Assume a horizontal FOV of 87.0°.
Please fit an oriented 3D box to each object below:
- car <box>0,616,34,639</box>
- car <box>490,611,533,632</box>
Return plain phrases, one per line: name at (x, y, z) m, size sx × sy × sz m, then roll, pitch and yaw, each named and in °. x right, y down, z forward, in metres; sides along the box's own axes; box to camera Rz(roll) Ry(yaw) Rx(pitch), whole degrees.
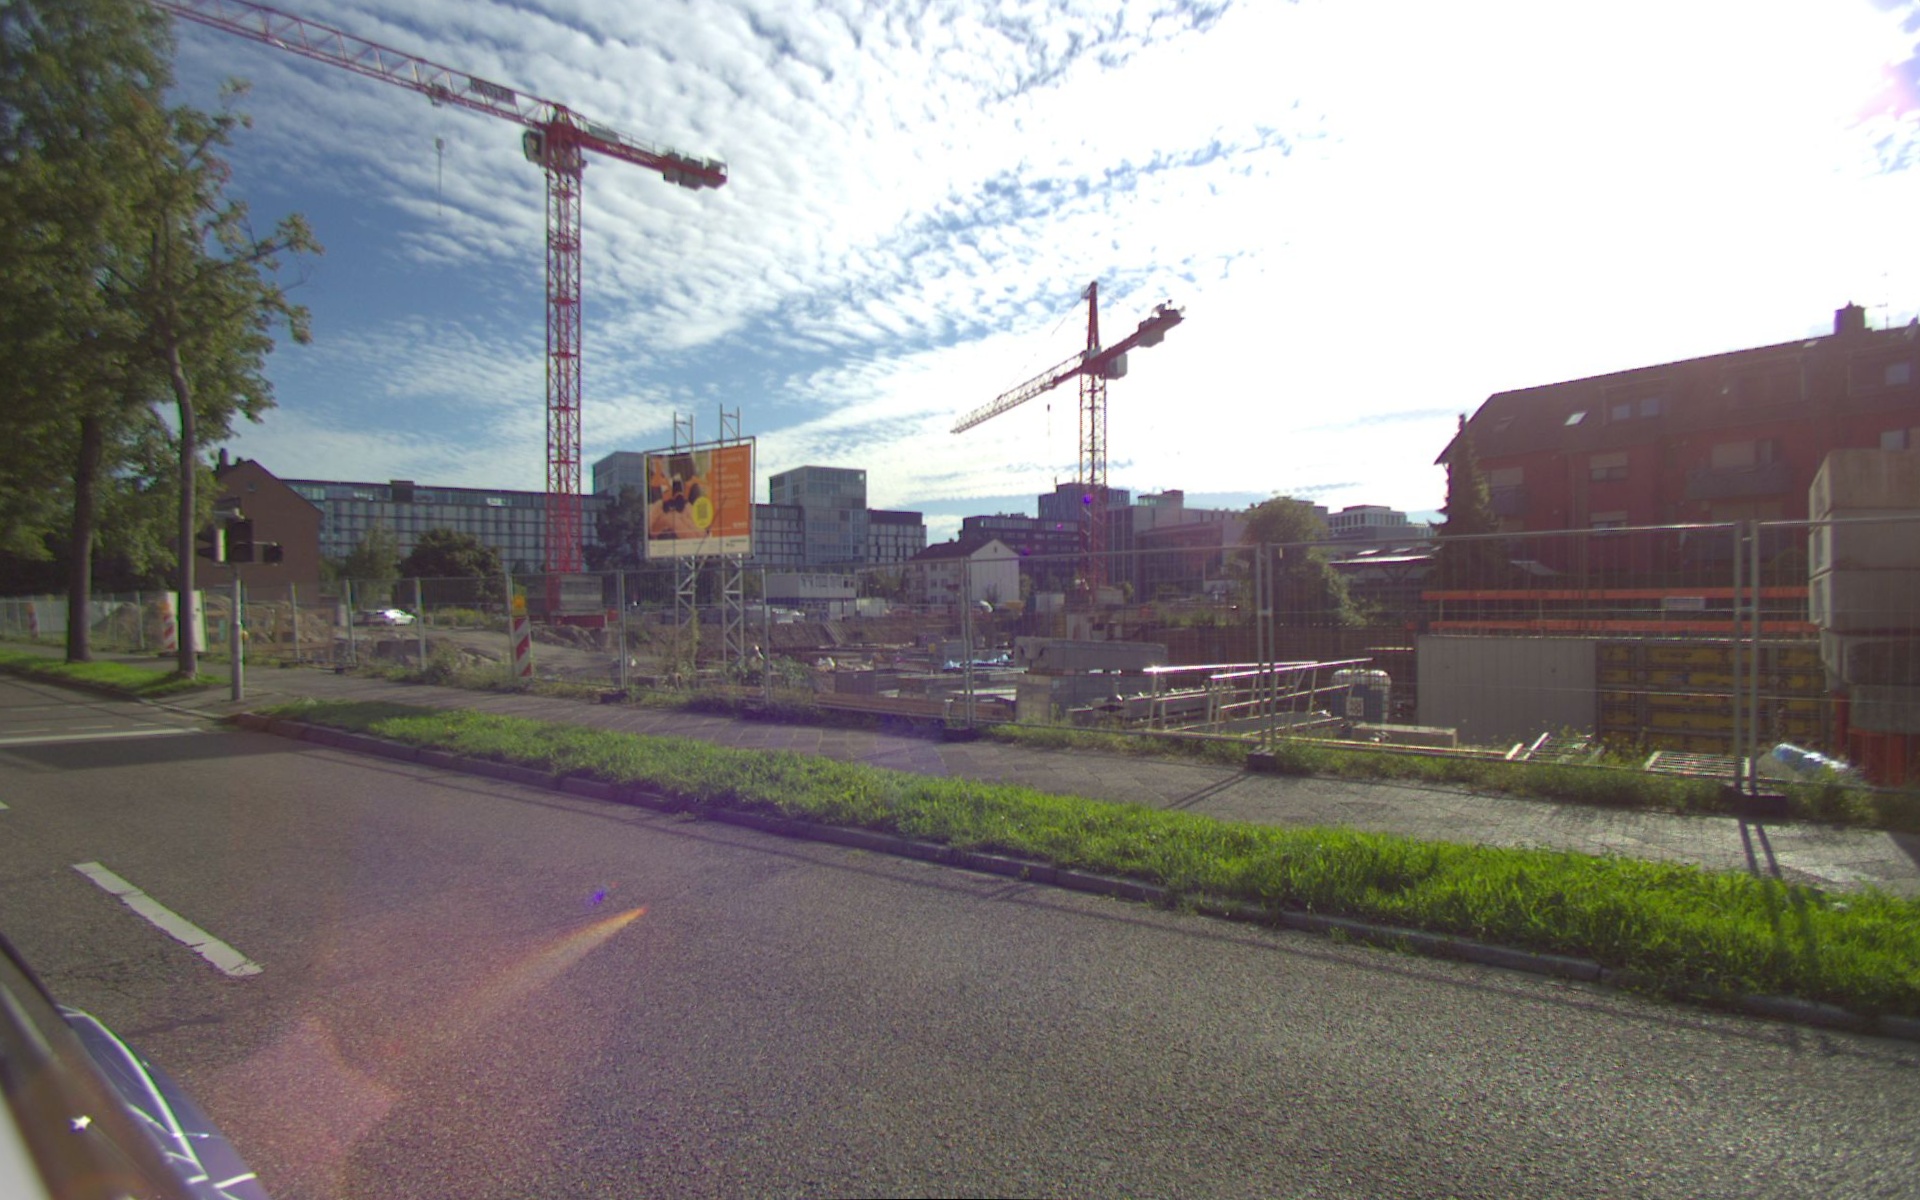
car at (-64.598, 1.814, 68.758) m, size 4.505 × 1.439 × 1.973 m, roll 1°, pitch -1°, yaw 41°
car at (-41.794, 1.959, 94.307) m, size 3.974 × 1.821 × 1.798 m, roll 1°, pitch 1°, yaw 33°
